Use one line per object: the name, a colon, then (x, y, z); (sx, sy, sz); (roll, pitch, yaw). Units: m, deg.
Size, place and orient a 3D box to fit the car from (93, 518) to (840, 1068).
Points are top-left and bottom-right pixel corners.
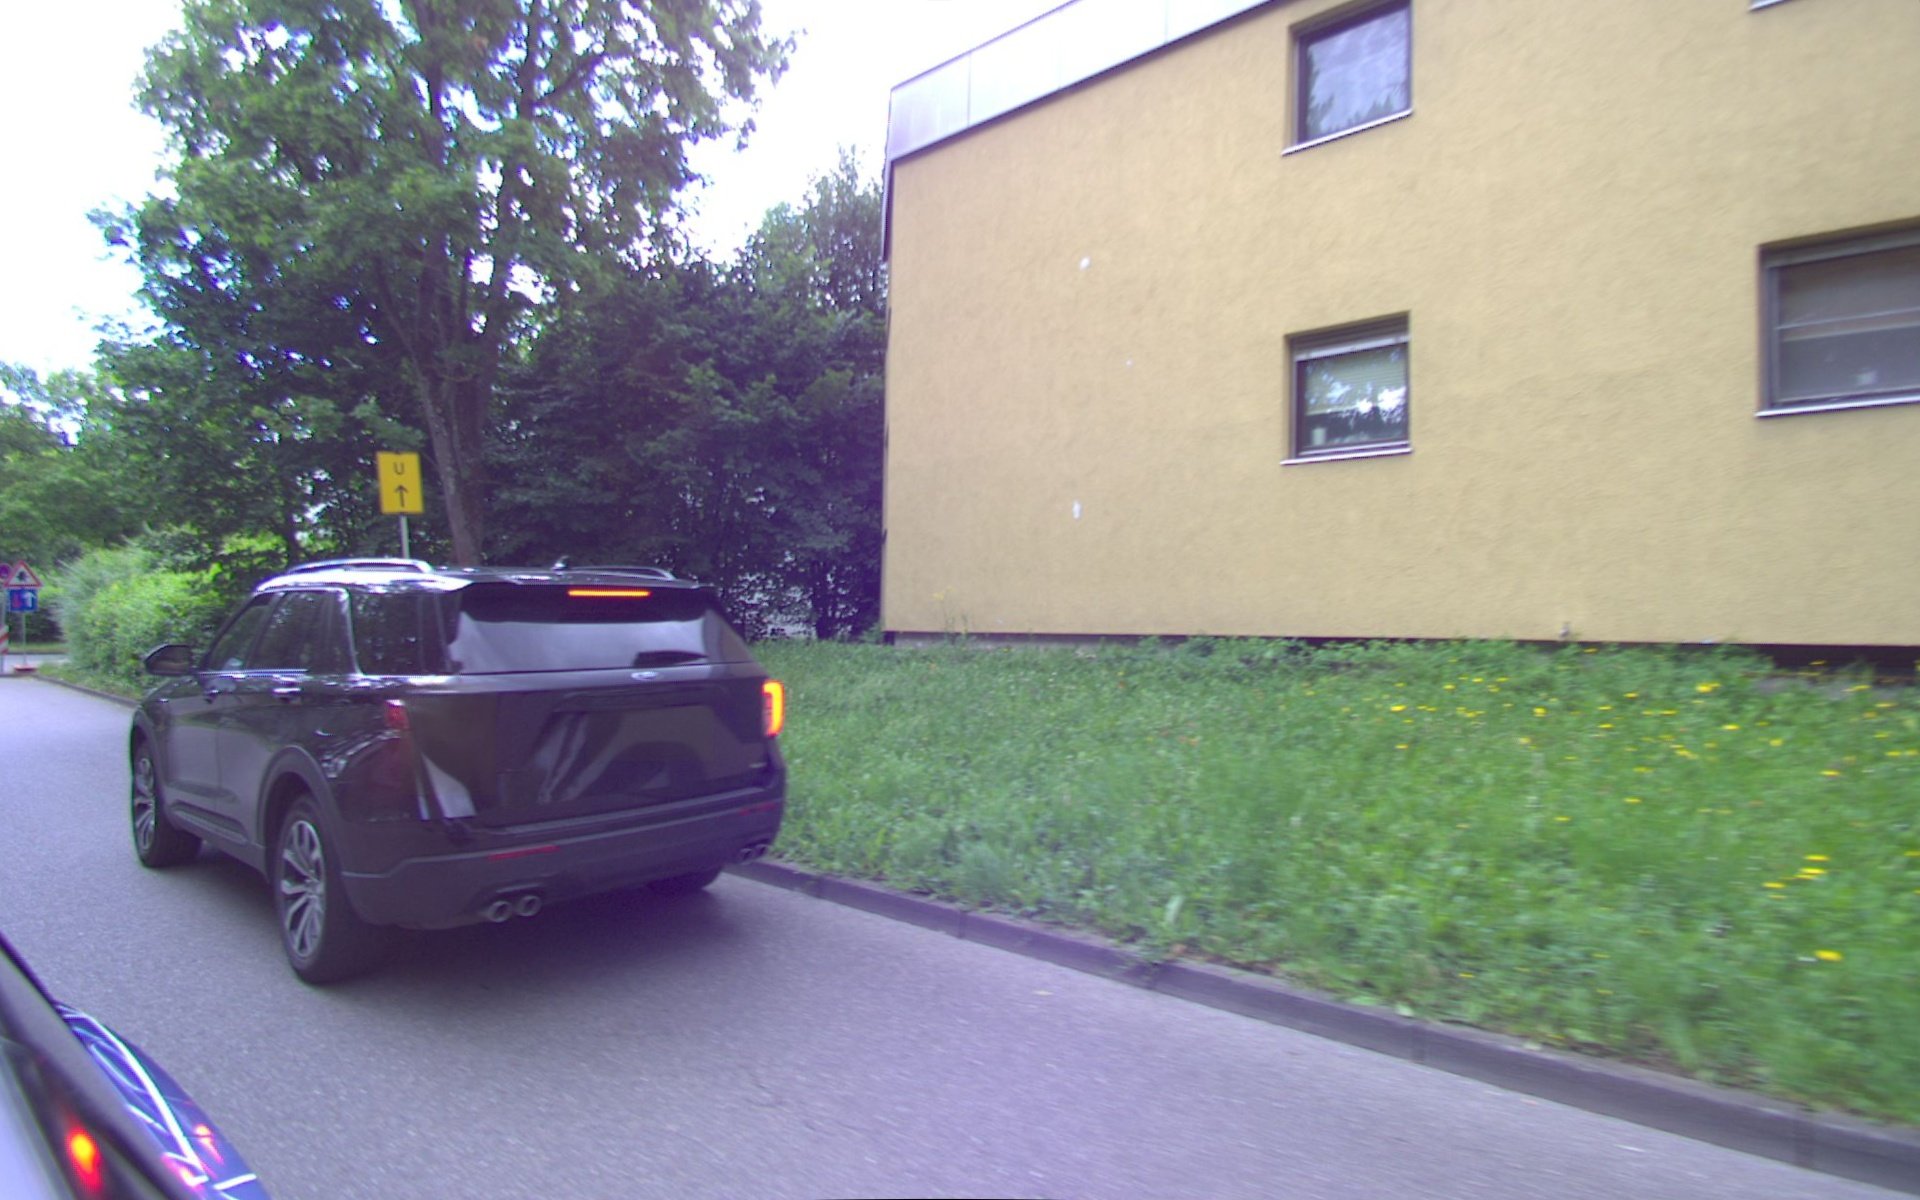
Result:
car: (-3.062, 0.663, 5.584); (5.056, 1.730, 1.893); (-1, -2, 41)
